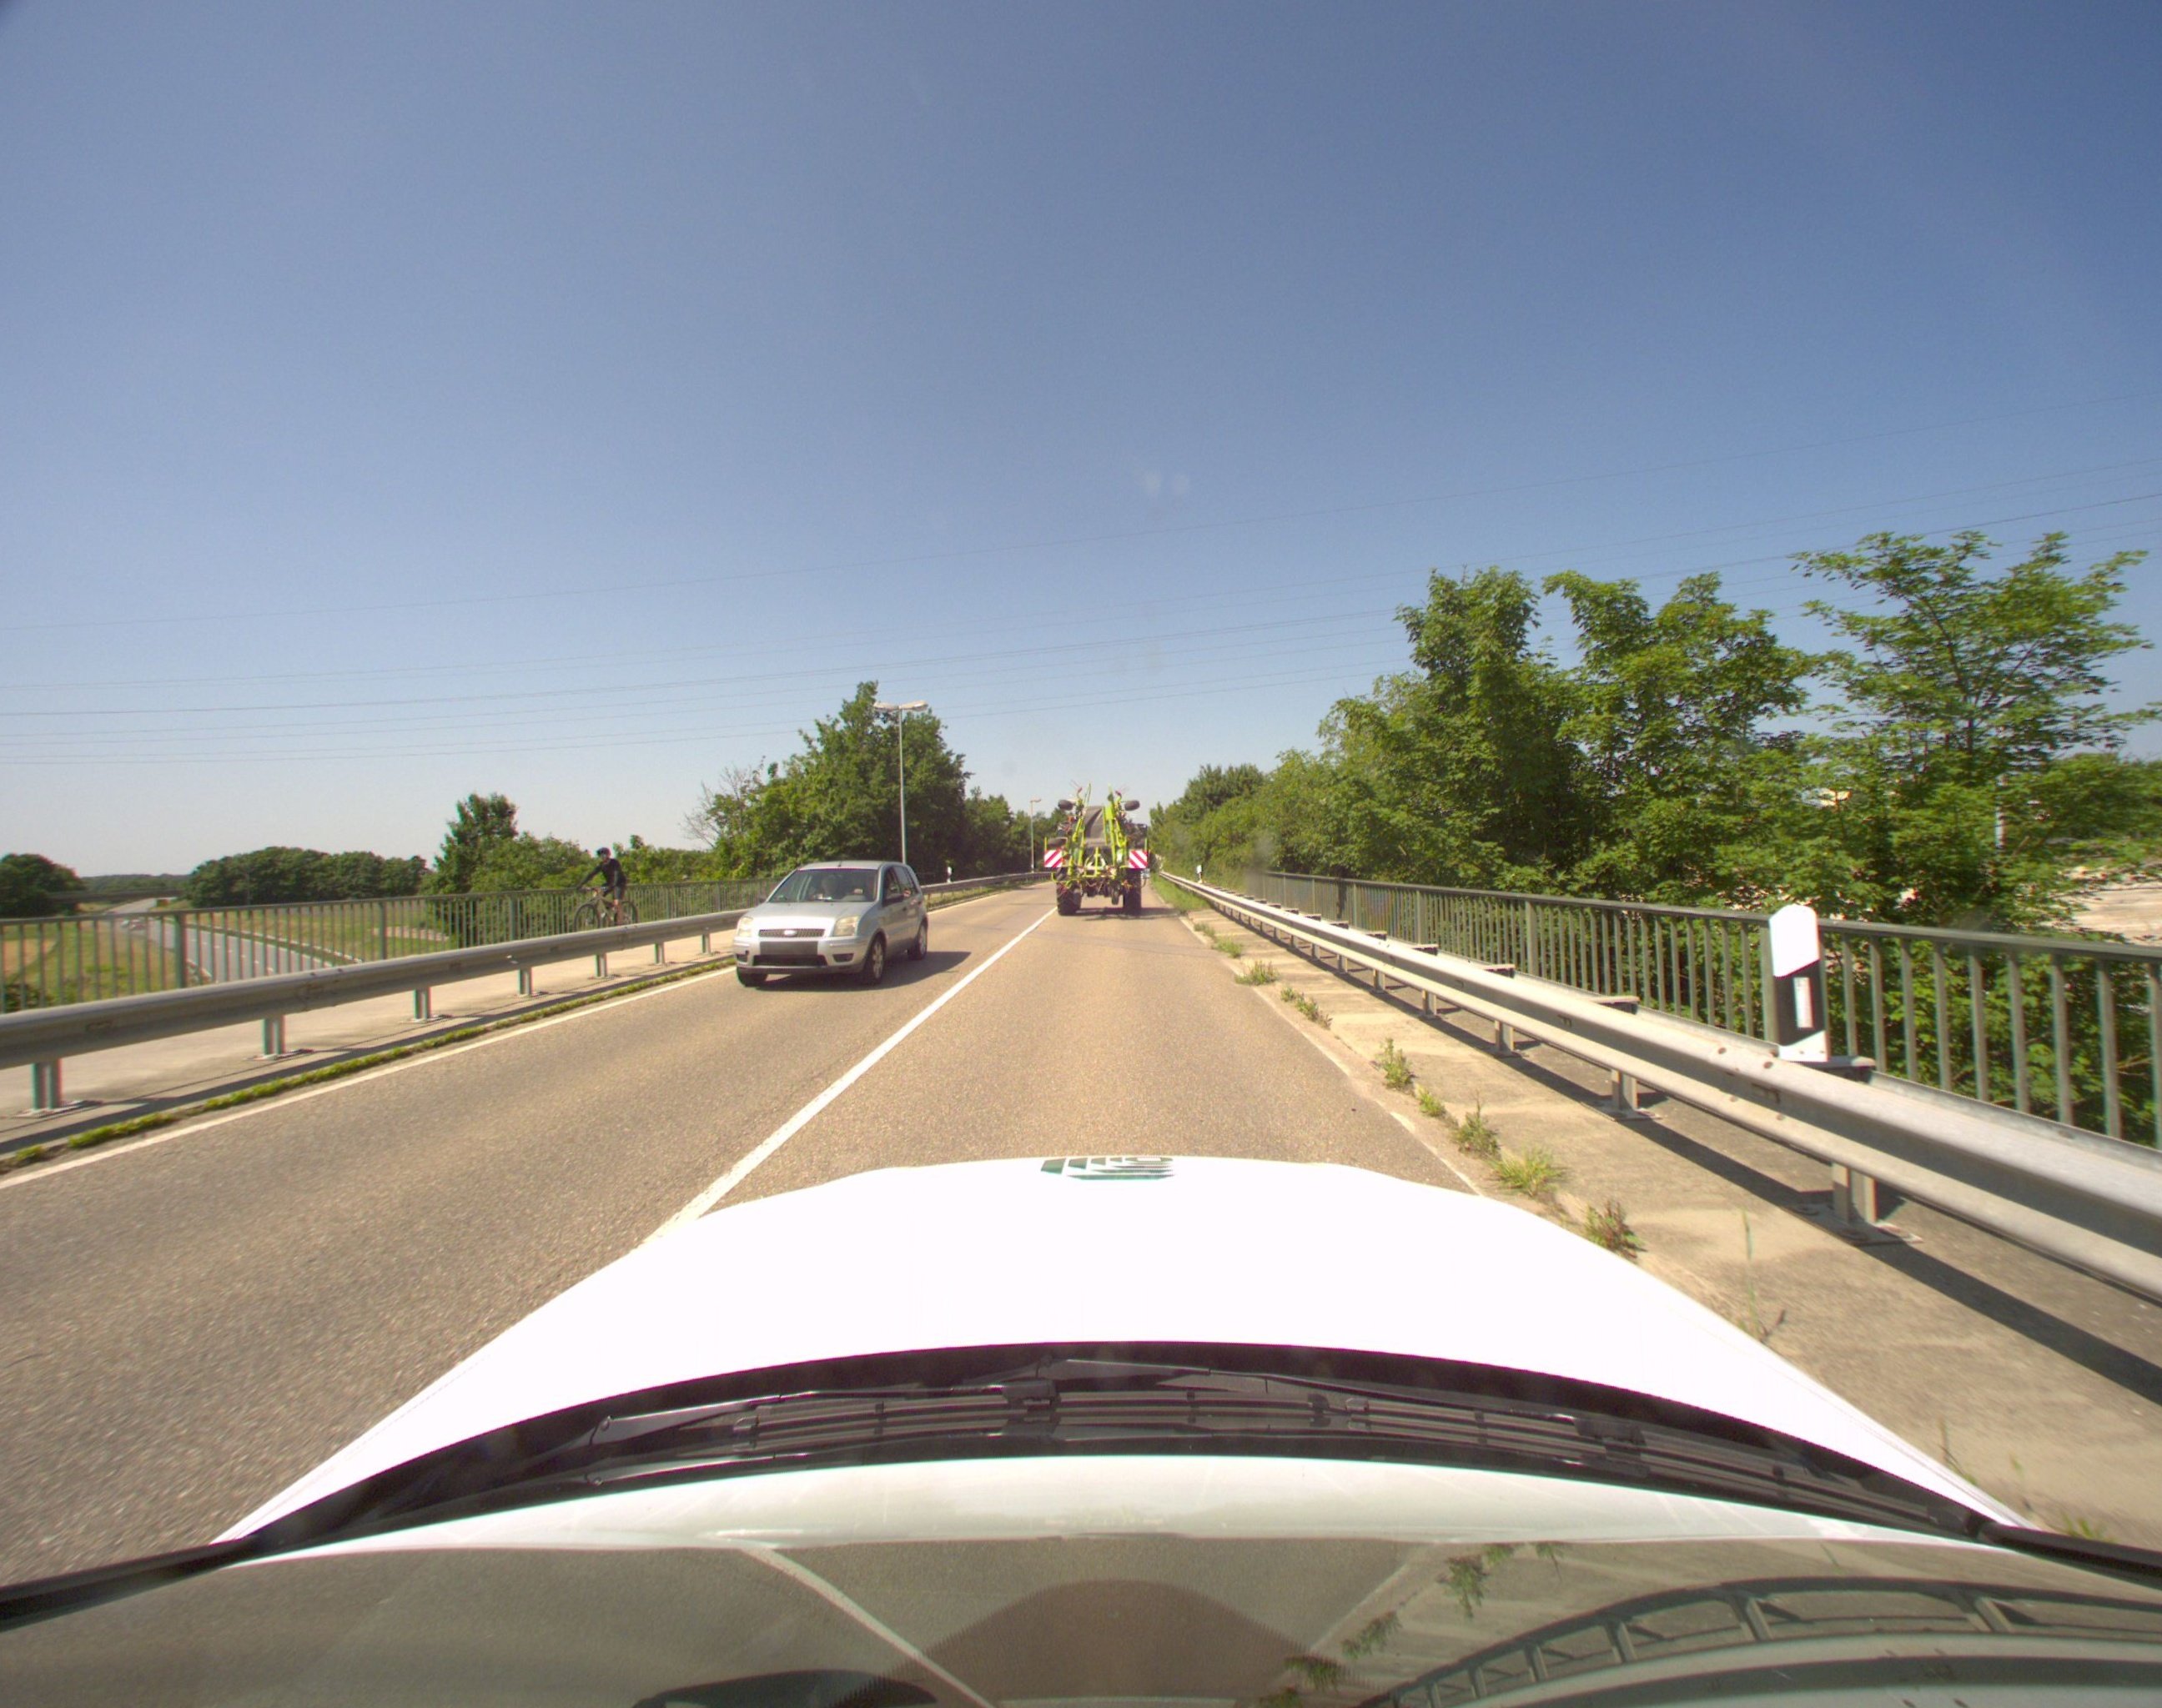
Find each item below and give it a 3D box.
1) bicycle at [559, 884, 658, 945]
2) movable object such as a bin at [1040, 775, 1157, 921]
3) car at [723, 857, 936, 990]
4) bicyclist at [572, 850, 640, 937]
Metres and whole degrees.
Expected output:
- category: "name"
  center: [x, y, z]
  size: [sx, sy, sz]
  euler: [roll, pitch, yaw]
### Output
- category: "bicycle"
  center: [-9.175, 1.148, 15.919]
  size: [0.675, 1.001, 2.118]
  euler: [-2, 0, 0]
- category: "movable object such as a bin"
  center: [0.433, -0.137, 22.242]
  size: [2.746, 3.444, 5.669]
  euler: [-1, 0, 0]
- category: "car"
  center: [-3.235, 0.827, 11.246]
  size: [1.661, 1.517, 3.667]
  euler: [-1, -1, 2]
- category: "bicyclist"
  center: [-9.221, 0.745, 15.841]
  size: [0.763, 1.633, 0.895]
  euler: [-2, 0, -1]
